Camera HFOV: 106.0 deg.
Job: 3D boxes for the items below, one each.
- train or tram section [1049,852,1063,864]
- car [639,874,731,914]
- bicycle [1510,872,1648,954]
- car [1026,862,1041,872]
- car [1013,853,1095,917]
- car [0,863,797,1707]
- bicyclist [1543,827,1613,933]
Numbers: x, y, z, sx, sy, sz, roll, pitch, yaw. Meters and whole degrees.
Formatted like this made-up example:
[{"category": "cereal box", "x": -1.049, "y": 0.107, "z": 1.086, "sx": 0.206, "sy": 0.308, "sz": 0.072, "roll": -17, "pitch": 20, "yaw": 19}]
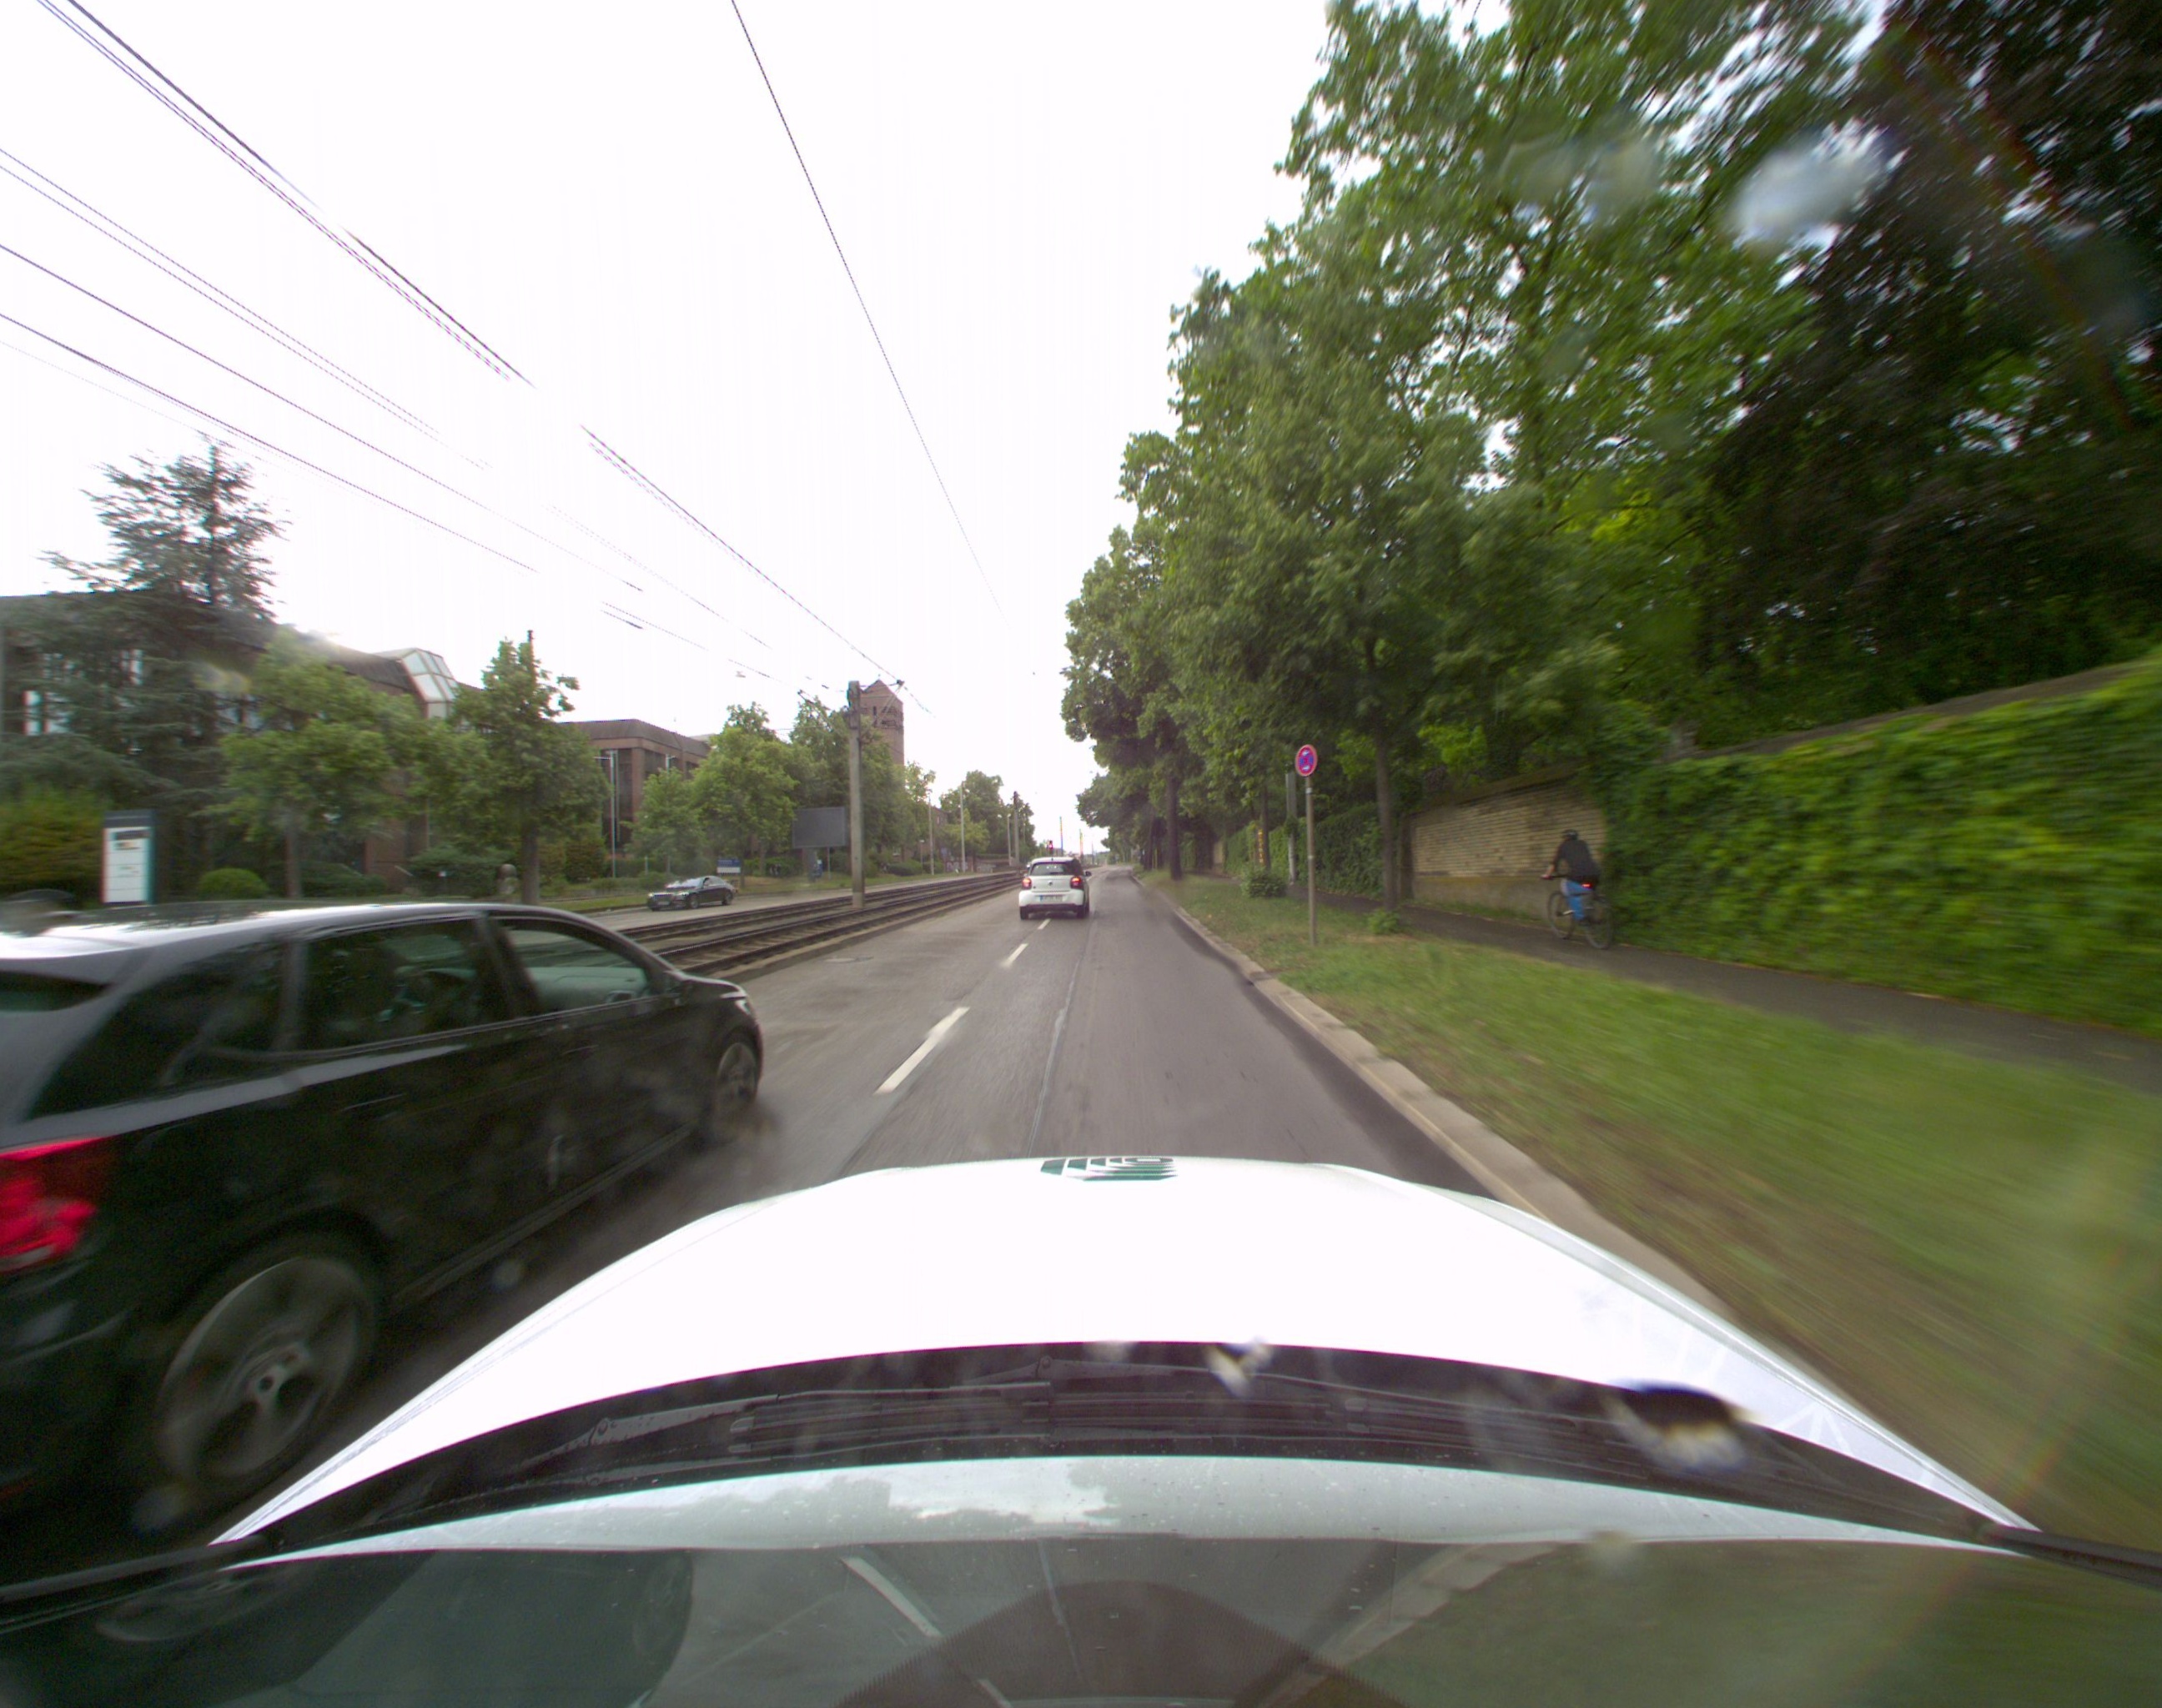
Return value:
[{"category": "train or tram section", "x": -7.881, "y": 1.250, "z": 251.391, "sx": 2.833, "sy": 3.605, "sz": 9.235, "roll": -1, "pitch": 0, "yaw": -11}, {"category": "car", "x": -17.831, "y": 1.775, "z": 36.931, "sx": 1.788, "sy": 1.530, "sz": 4.622, "roll": -2, "pitch": 0, "yaw": 1}, {"category": "bicycle", "x": 6.832, "y": 0.761, "z": 11.348, "sx": 0.540, "sy": 0.948, "sz": 2.553, "roll": -2, "pitch": 0, "yaw": 5}, {"category": "car", "x": -8.917, "y": 2.394, "z": 152.154, "sx": 2.003, "sy": 1.656, "sz": 4.624, "roll": -2, "pitch": 0, "yaw": 6}, {"category": "car", "x": -0.625, "y": 0.765, "z": 21.738, "sx": 1.667, "sy": 1.531, "sz": 3.728, "roll": -1, "pitch": 0, "yaw": 6}, {"category": "car", "x": -2.801, "y": 0.841, "z": 3.305, "sx": 1.788, "sy": 1.485, "sz": 3.965, "roll": -3, "pitch": 0, "yaw": 1}, {"category": "bicyclist", "x": 6.786, "y": 0.344, "z": 11.144, "sx": 0.532, "sy": 1.389, "sz": 0.667, "roll": -2, "pitch": -1, "yaw": 5}]
